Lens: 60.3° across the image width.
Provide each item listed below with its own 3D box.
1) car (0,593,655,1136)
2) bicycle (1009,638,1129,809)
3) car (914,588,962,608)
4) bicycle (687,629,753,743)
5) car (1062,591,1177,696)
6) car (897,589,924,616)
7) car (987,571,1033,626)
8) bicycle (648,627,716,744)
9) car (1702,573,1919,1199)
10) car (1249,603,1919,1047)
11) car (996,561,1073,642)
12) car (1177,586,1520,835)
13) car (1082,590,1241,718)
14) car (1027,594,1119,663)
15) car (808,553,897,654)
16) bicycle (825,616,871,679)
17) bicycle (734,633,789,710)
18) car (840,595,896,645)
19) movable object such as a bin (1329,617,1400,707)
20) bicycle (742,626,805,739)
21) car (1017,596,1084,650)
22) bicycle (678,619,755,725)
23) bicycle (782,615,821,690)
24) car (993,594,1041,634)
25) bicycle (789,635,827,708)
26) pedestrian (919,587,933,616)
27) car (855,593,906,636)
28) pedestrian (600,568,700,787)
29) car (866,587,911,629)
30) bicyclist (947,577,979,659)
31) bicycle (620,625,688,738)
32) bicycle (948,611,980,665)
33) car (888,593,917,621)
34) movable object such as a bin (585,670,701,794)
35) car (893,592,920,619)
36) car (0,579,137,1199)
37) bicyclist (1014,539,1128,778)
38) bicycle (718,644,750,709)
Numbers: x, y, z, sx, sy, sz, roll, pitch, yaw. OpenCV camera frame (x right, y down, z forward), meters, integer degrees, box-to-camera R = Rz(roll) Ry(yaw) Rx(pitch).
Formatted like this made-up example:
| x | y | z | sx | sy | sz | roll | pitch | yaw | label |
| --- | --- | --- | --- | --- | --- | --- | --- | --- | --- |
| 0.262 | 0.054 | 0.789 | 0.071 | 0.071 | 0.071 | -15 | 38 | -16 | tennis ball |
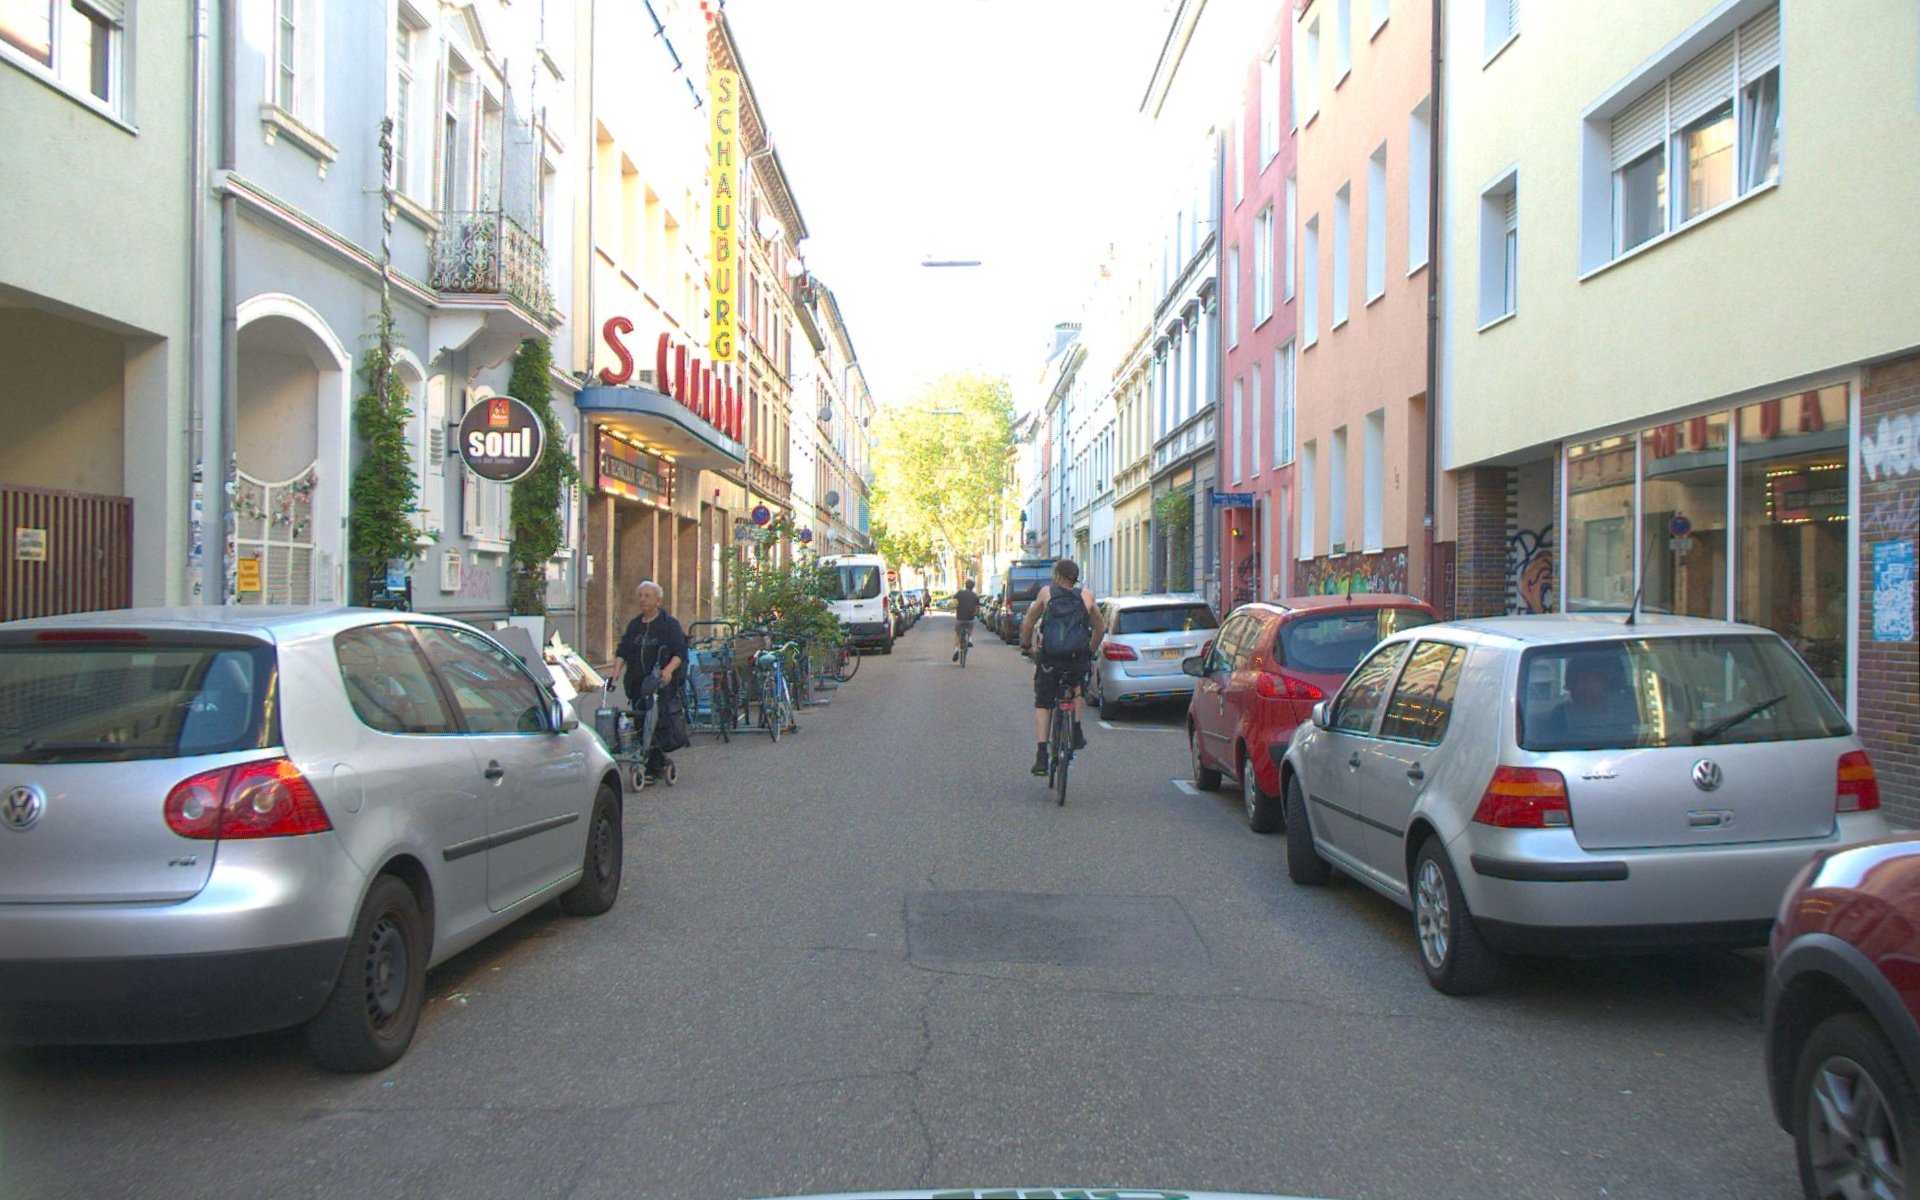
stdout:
| x | y | z | sx | sy | sz | roll | pitch | yaw | label |
| --- | --- | --- | --- | --- | --- | --- | --- | --- | --- |
| -2.511 | 0.728 | 6.583 | 1.645 | 1.480 | 4.035 | -1 | 0 | 3 | car |
| 0.797 | 0.893 | 12.649 | 0.725 | 1.120 | 2.042 | 2 | 0 | -1 | bicycle |
| -2.030 | -0.221 | 151.919 | 4.382 | 1.790 | 1.864 | 0 | 0 | -5 | car |
| -2.582 | 0.899 | 17.914 | 0.434 | 1.125 | 1.931 | 1 | 0 | -1 | bicycle |
| 2.593 | 0.674 | 27.511 | 1.569 | 1.566 | 3.450 | -2 | 0 | 0 | car |
| -3.339 | 0.145 | 112.387 | 1.751 | 1.767 | 3.875 | 0 | 0 | -1 | car |
| 2.440 | -0.081 | 81.299 | 2.159 | 2.595 | 6.037 | 0 | 0 | 2 | car |
| -2.921 | 0.872 | 17.470 | 0.434 | 1.125 | 1.873 | 1 | 0 | -2 | bicycle |
| 2.885 | 0.737 | 2.460 | 1.753 | 1.578 | 4.000 | 0 | 0 | -1 | car |
| 2.637 | 0.784 | 7.868 | 1.654 | 1.478 | 4.192 | -1 | 0 | -2 | car |
| 2.399 | 0.033 | 54.698 | 2.131 | 2.468 | 6.308 | -1 | 0 | -1 | car |
| 2.725 | 0.691 | 12.487 | 1.662 | 1.549 | 3.980 | -1 | 0 | 0 | car |
| 2.667 | 0.658 | 22.696 | 1.710 | 1.583 | 4.171 | 0 | 0 | 0 | car |
| 2.634 | 0.634 | 39.573 | 1.750 | 1.479 | 4.546 | -3 | 0 | -1 | car |
| -2.816 | 0.075 | 44.478 | 2.124 | 2.495 | 5.919 | -1 | 0 | -2 | car |
| -2.045 | 0.840 | 29.960 | 0.453 | 1.066 | 1.742 | 2 | 0 | -16 | bicycle |
| -2.679 | 0.950 | 22.441 | 0.542 | 0.960 | 1.571 | 0 | 0 | 0 | bicycle |
| -2.783 | 0.580 | 50.533 | 1.612 | 1.472 | 3.838 | 0 | 0 | -2 | car |
| 5.077 | 0.767 | 20.790 | 0.678 | 1.076 | 0.736 | -2 | 0 | 0 | movable object such as a bin |
| -2.006 | 0.865 | 17.957 | 0.489 | 1.125 | 1.829 | 1 | 0 | -1 | bicycle |
| 2.614 | 0.644 | 48.470 | 1.712 | 1.469 | 4.171 | 1 | 0 | 0 | car |
| -2.869 | 0.836 | 19.572 | 0.796 | 1.195 | 0.920 | 1 | 0 | -3 | bicycle |
| -2.523 | 0.824 | 26.423 | 0.535 | 1.113 | 1.880 | 2 | 0 | -4 | bicycle |
| 2.245 | 0.527 | 66.018 | 1.710 | 1.511 | 4.242 | 0 | 0 | -1 | car |
| -2.087 | 0.974 | 22.799 | 0.382 | 0.932 | 1.393 | 0 | 0 | 0 | bicycle |
| -2.197 | 0.075 | 107.598 | 0.770 | 1.849 | 0.650 | 2 | 0 | -7 | pedestrian |
| -2.954 | 0.507 | 61.820 | 1.824 | 1.465 | 4.643 | 0 | 1 | -2 | car |
| -2.541 | 0.623 | 13.618 | 0.699 | 1.737 | 0.671 | 2 | 0 | -5 | pedestrian |
| -3.127 | 0.356 | 72.839 | 1.764 | 1.728 | 4.000 | -2 | 0 | 0 | car |
| 0.058 | 0.373 | 34.537 | 0.656 | 1.687 | 0.877 | 0 | 0 | -1 | bicyclist |
| -3.315 | 0.861 | 18.021 | 0.434 | 1.125 | 1.697 | 1 | 0 | -1 | bicycle |
| 0.069 | 0.778 | 34.553 | 0.650 | 1.055 | 1.958 | 0 | 0 | 0 | bicycle |
| -3.250 | 0.379 | 92.811 | 1.572 | 1.557 | 3.377 | -1 | 0 | -2 | car |
| -2.495 | 1.035 | 13.078 | 0.828 | 0.913 | 0.585 | 2 | 0 | -7 | movable object such as a bin |
| -3.243 | 0.332 | 100.187 | 1.514 | 1.578 | 3.463 | 0 | 0 | -4 | car |
| -2.556 | 0.710 | 1.427 | 1.753 | 1.477 | 3.999 | 0 | 0 | -1 | car |
| 0.827 | 0.424 | 12.569 | 0.725 | 1.708 | 1.116 | 2 | 0 | -1 | bicyclist |
| -3.134 | 1.047 | 22.987 | 0.251 | 0.832 | 1.299 | 1 | 0 | 0 | bicycle |
